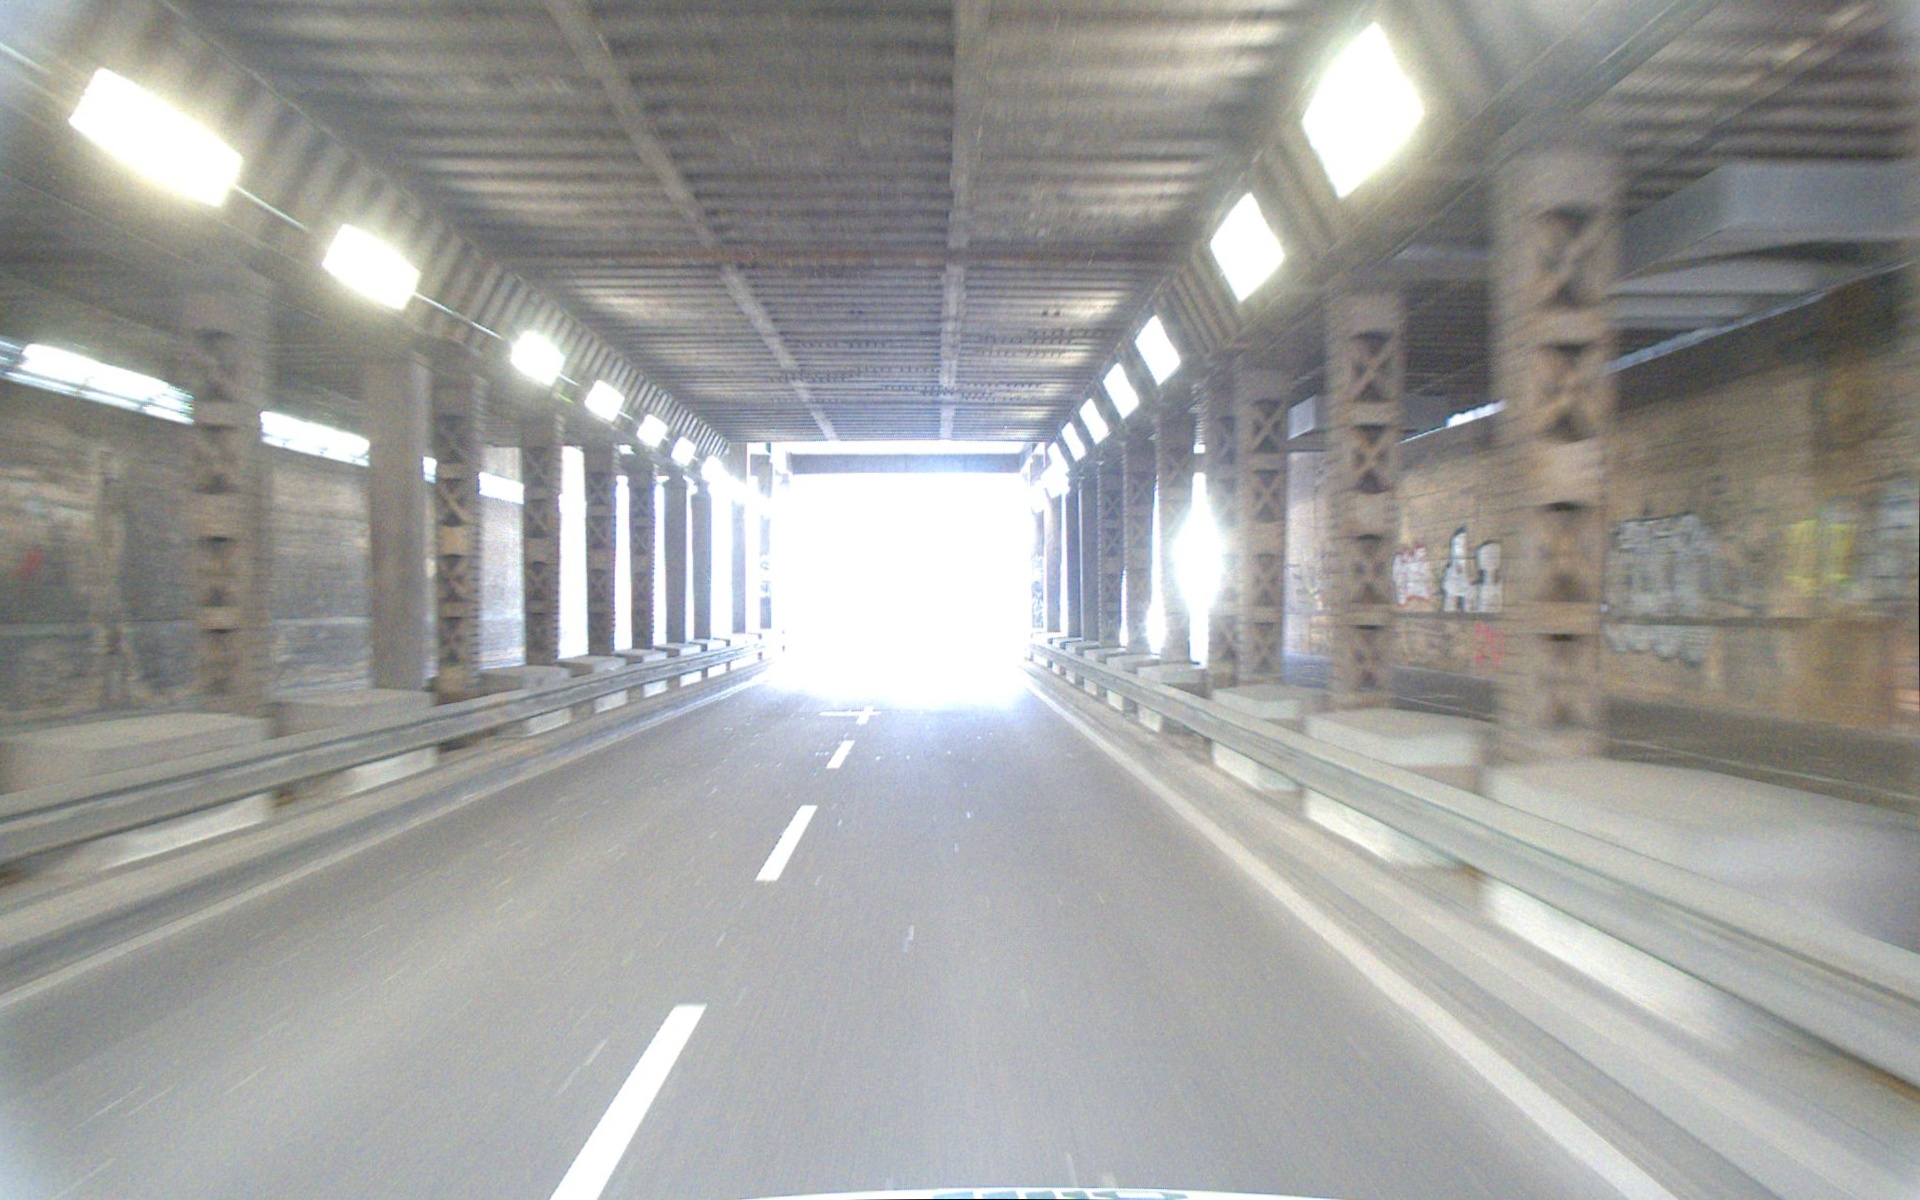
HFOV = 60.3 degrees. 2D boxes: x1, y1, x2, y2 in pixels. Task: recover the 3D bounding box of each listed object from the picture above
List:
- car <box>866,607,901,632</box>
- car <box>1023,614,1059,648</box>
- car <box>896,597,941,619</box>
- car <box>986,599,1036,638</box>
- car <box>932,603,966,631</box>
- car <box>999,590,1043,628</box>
[{"bbox_3d":[-4.700,1.180,101.883,1.715,1.429,4.417,0,0,3],"label":"car"},{"bbox_3d":[3.890,1.458,79.022,1.695,1.527,4.002,0,0,3],"label":"car"},{"bbox_3d":[-3.034,0.590,122.296,1.885,1.601,3.879,0,0,23],"label":"car"},{"bbox_3d":[2.076,0.744,68.689,1.908,1.555,4.089,0,0,-1],"label":"car"},{"bbox_3d":[-0.539,0.887,88.022,1.750,1.418,4.105,0,0,0],"label":"car"},{"bbox_3d":[3.352,0.501,91.233,2.128,2.044,4.806,0,-1,-2],"label":"car"}]
